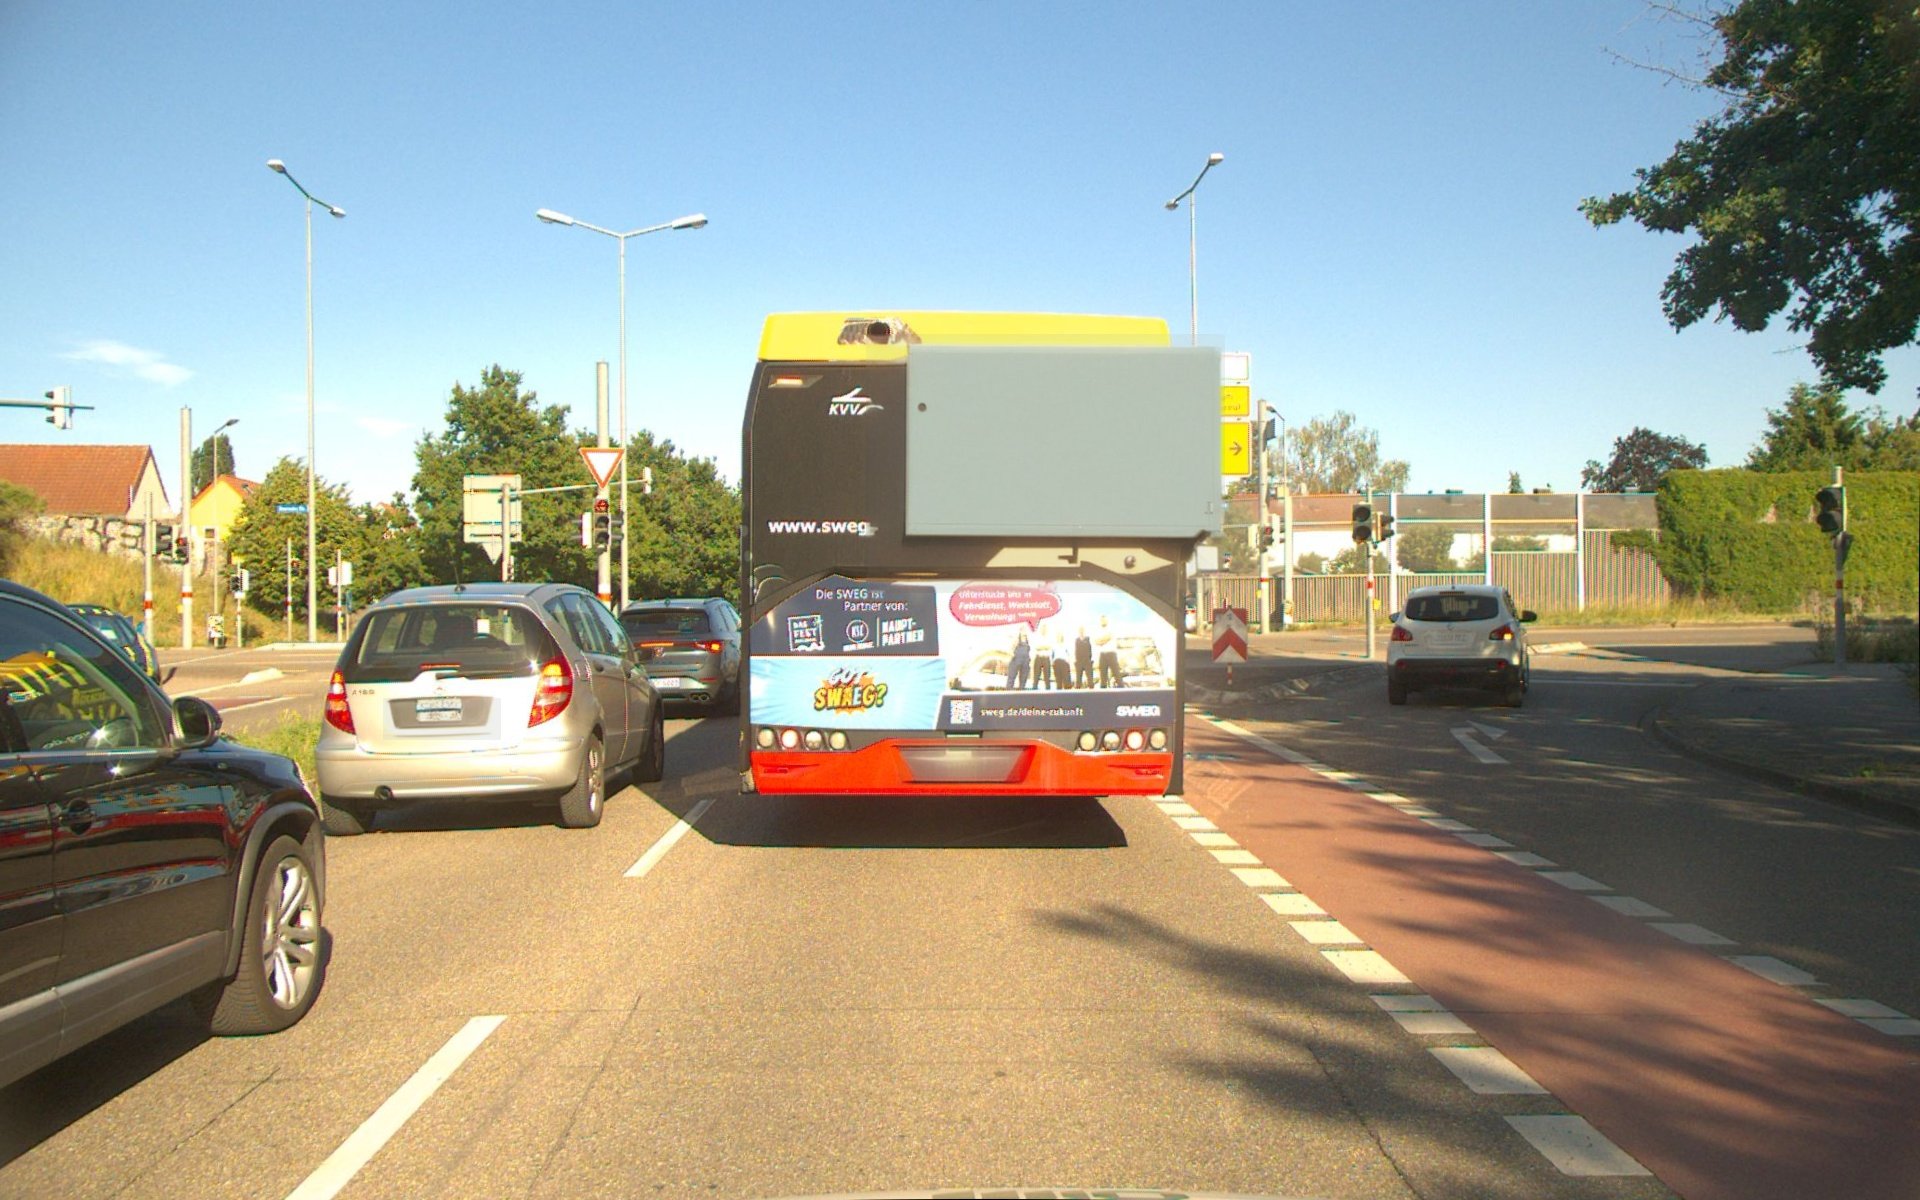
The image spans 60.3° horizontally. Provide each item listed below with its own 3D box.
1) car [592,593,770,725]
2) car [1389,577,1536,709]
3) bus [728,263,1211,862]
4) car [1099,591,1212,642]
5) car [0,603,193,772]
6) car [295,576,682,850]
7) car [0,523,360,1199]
[{"bbox_3d":[-3.453,0.675,21.061,1.658,1.484,3.750,-2,0,-1],"label":"car"},{"bbox_3d":[7.205,0.542,23.484,1.682,1.635,4.068,-1,1,21],"label":"car"},{"bbox_3d":[0.018,-0.254,14.895,2.589,3.222,11.860,0,0,0],"label":"bus"},{"bbox_3d":[7.438,0.609,62.826,3.905,1.847,1.923,1,0,21],"label":"car"},{"bbox_3d":[-9.676,0.832,17.254,1.728,1.552,4.075,-2,0,-6],"label":"car"},{"bbox_3d":[-3.220,0.681,12.132,1.725,1.617,3.999,-2,0,-1],"label":"car"},{"bbox_3d":[-3.147,0.686,4.306,1.736,1.682,3.999,-2,0,-1],"label":"car"}]
